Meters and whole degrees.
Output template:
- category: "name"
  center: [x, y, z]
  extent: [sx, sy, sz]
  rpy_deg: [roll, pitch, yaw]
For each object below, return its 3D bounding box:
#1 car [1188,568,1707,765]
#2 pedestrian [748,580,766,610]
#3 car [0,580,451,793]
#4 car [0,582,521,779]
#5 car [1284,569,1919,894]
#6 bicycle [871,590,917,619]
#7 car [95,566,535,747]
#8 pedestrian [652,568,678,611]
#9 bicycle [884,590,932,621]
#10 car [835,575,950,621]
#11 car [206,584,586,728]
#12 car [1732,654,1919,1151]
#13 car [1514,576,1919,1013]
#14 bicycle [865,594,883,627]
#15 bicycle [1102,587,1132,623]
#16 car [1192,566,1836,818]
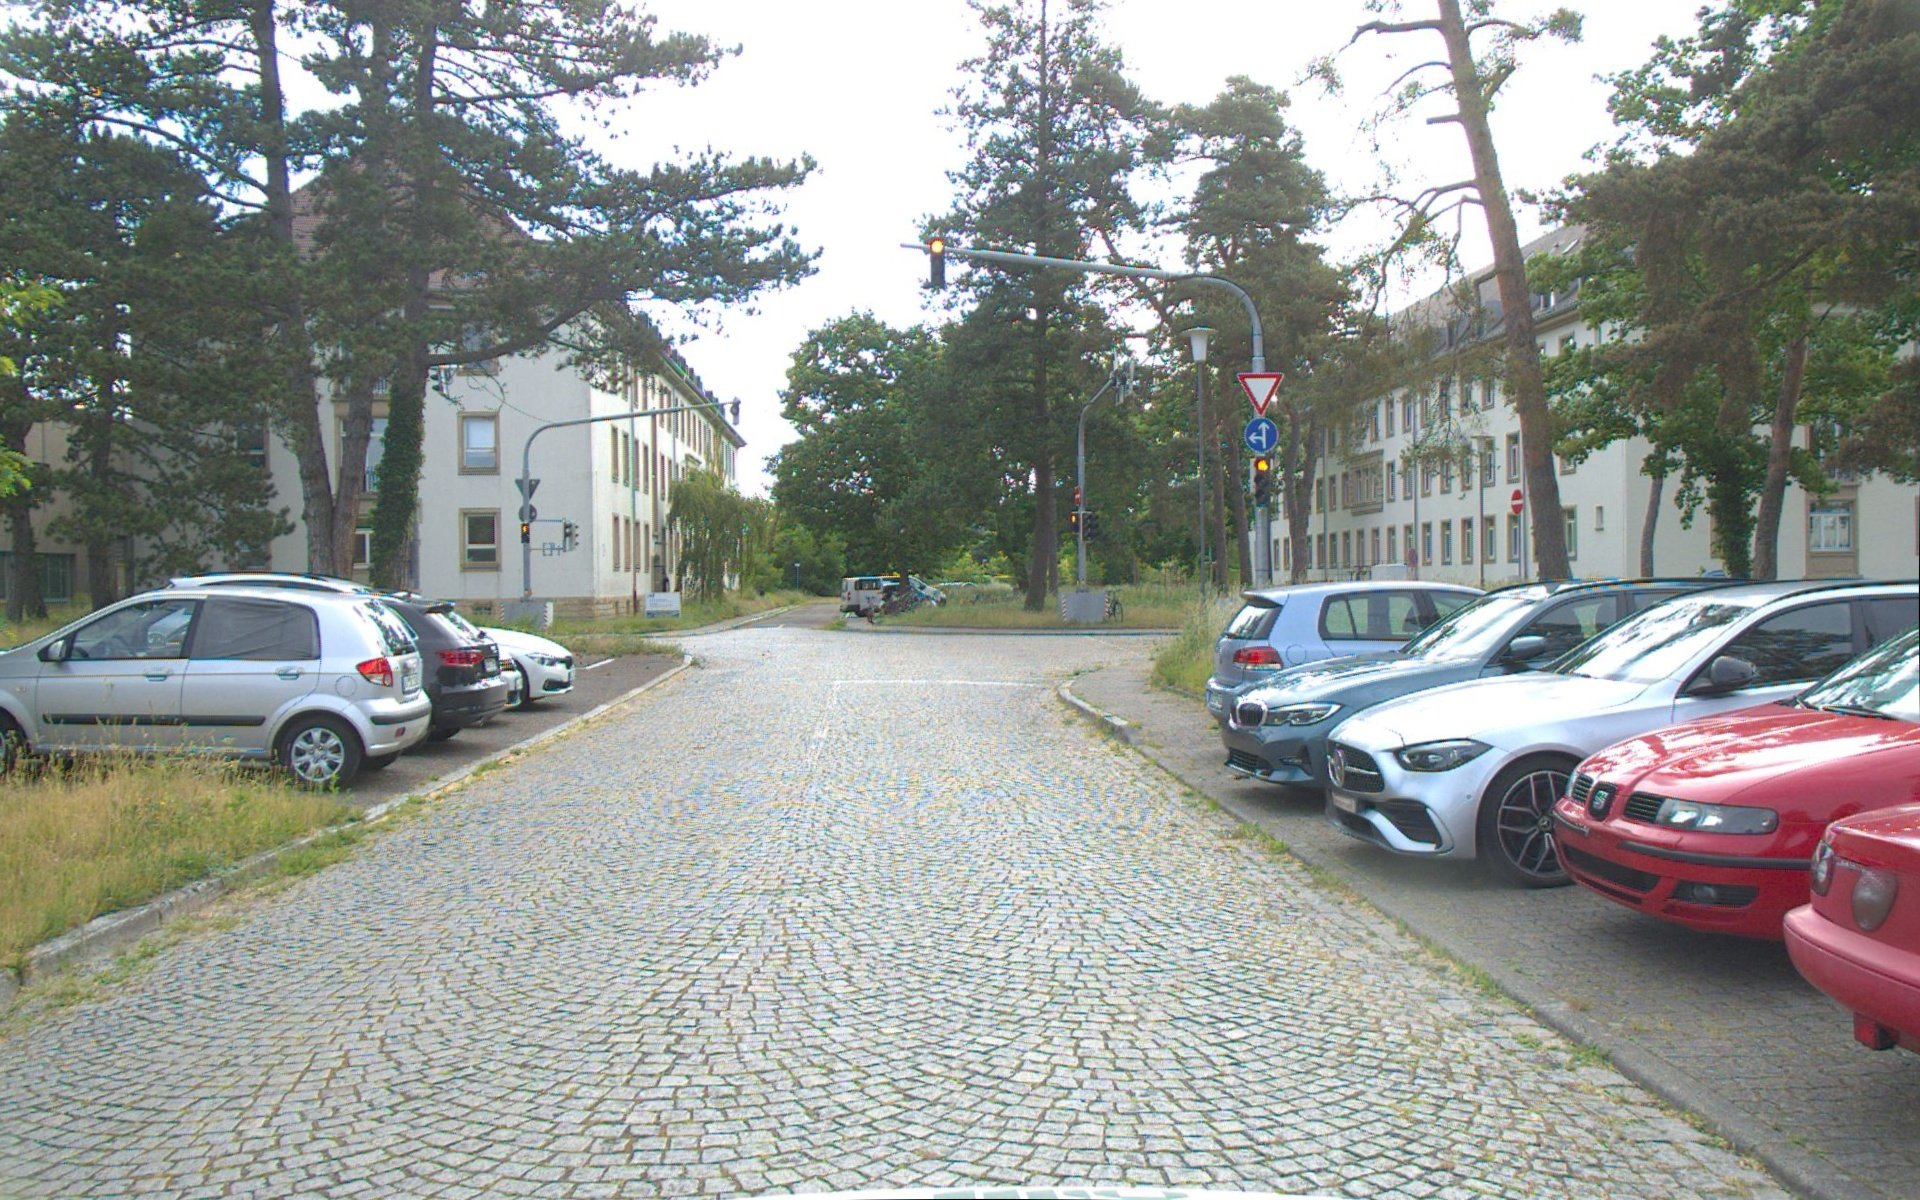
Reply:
- category: "car"
  center: [4.216, 0.527, 14.558]
  extent: [4.058, 1.489, 1.630]
  rpy_deg: [-2, 1, -9]
- category: "pedestrian"
  center: [-13.526, -0.342, 110.181]
  extent: [1.216, 1.993, 1.119]
  rpy_deg: [1, 0, -8]
- category: "car"
  center: [-6.067, 0.638, 13.006]
  extent: [3.649, 1.506, 1.671]
  rpy_deg: [1, 0, -6]
- category: "car"
  center: [-6.433, 0.686, 15.584]
  extent: [4.219, 1.581, 1.808]
  rpy_deg: [-2, 1, -9]
- category: "car"
  center: [4.087, 0.613, 9.224]
  extent: [4.110, 1.462, 1.751]
  rpy_deg: [-2, 1, -11]
- category: "bicycle"
  center: [-2.784, 0.195, 69.816]
  extent: [1.846, 1.191, 0.663]
  rpy_deg: [1, 0, -9]
- category: "car"
  center: [-7.010, 0.570, 18.357]
  extent: [4.218, 1.762, 1.649]
  rpy_deg: [-2, 1, -9]
- category: "pedestrian"
  center: [-13.953, -0.484, 78.160]
  extent: [1.053, 1.993, 1.120]
  rpy_deg: [1, 0, -3]
- category: "bicycle"
  center: [-2.101, 0.217, 66.356]
  extent: [1.846, 1.191, 0.663]
  rpy_deg: [1, 0, -9]
- category: "car"
  center: [-3.321, -0.096, 81.104]
  extent: [5.288, 2.138, 2.169]
  rpy_deg: [-1, 0, -16]
- category: "car"
  center: [-6.955, 0.653, 20.818]
  extent: [4.219, 1.581, 1.808]
  rpy_deg: [-2, 1, -9]
- category: "car"
  center: [4.253, 0.767, 4.524]
  extent: [3.514, 1.244, 1.628]
  rpy_deg: [-2, 1, -2]
- category: "car"
  center: [4.617, 0.644, 6.891]
  extent: [4.025, 1.502, 1.683]
  rpy_deg: [-2, 1, -5]
- category: "bicycle"
  center: [-3.184, 0.375, 61.651]
  extent: [0.649, 1.191, 1.887]
  rpy_deg: [1, 0, -3]
- category: "bicycle"
  center: [4.877, 0.156, 51.490]
  extent: [0.649, 1.069, 1.887]
  rpy_deg: [1, 1, -3]
- category: "car"
  center: [3.957, 0.575, 11.986]
  extent: [4.157, 1.505, 1.703]
  rpy_deg: [-2, 1, -14]
